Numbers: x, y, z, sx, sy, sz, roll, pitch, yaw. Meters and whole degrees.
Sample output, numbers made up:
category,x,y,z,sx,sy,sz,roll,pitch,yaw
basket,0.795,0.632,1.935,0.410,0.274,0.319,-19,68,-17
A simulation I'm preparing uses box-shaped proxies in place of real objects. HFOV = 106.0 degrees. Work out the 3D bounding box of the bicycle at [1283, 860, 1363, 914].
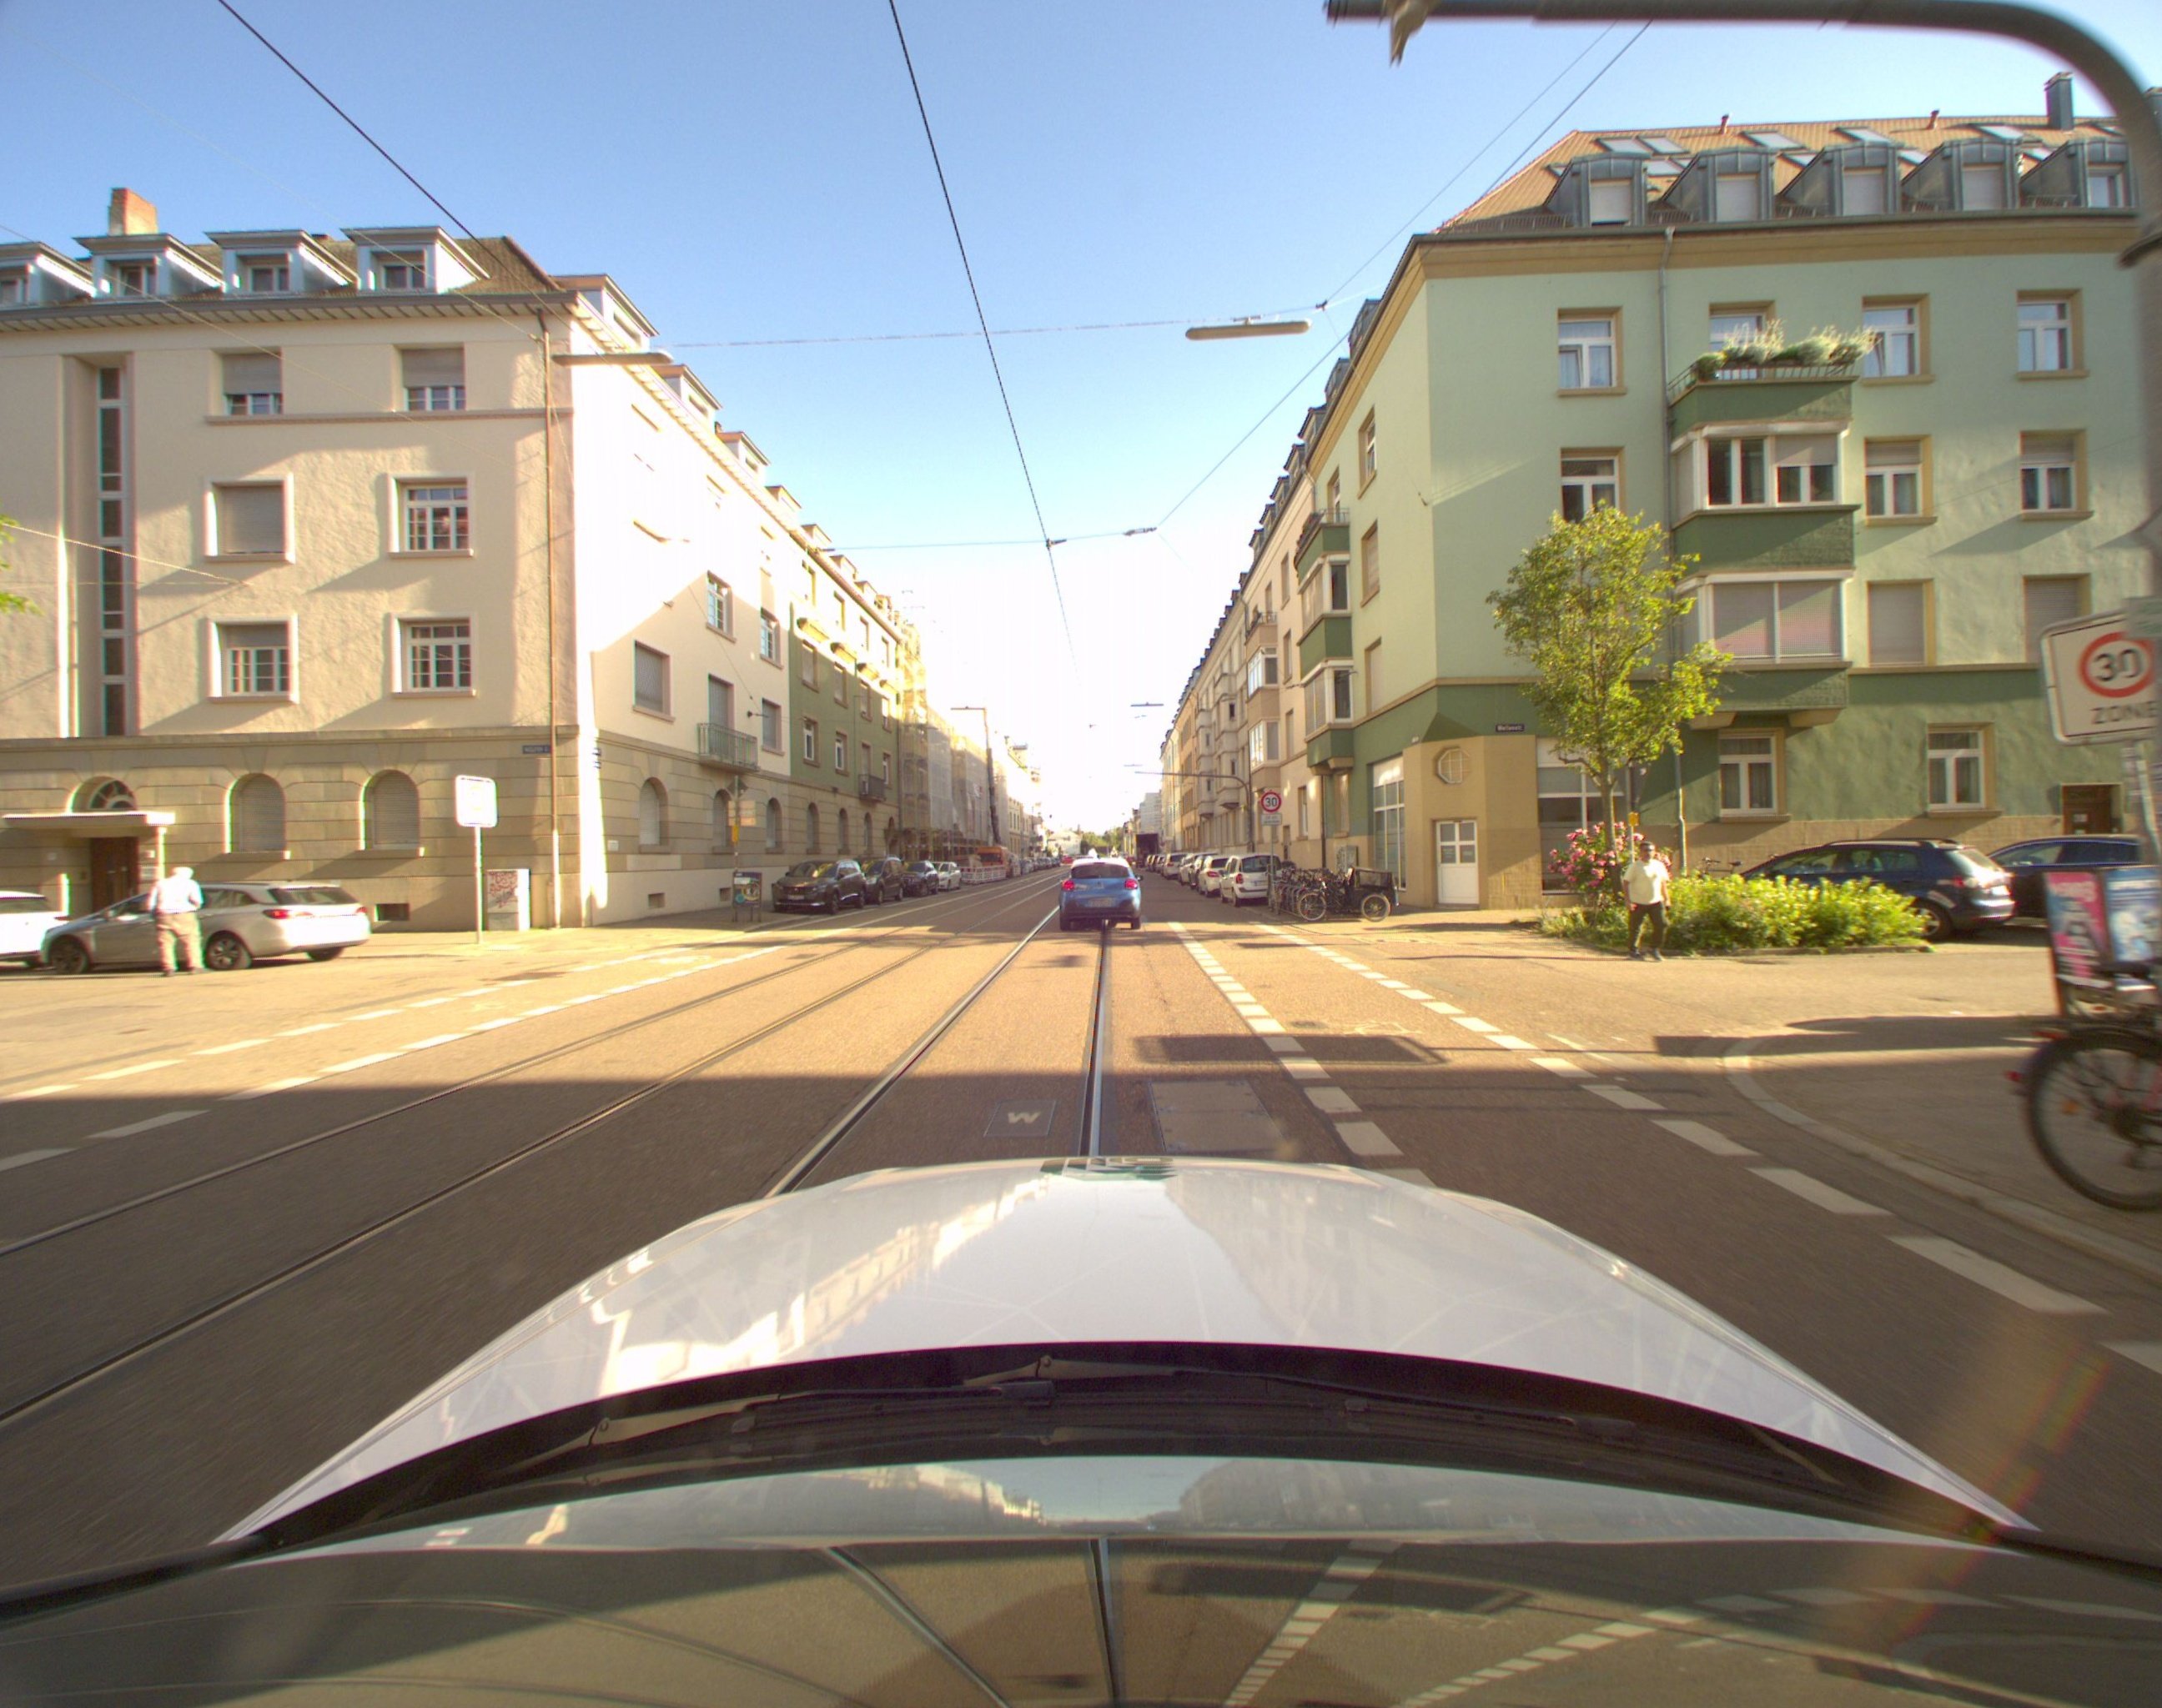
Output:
category,x,y,z,sx,sy,sz,roll,pitch,yaw
bicycle,5.841,0.794,19.706,1.716,1.154,0.469,-5,0,2

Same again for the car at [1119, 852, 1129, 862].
category,x,y,z,sx,sy,sz,roll,pitch,yaw
car,9.917,0.604,188.831,2.211,2.284,4.086,-2,0,2

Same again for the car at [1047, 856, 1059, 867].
category,x,y,z,sx,sy,sz,roll,pitch,yaw
car,-4.577,1.203,133.097,1.820,1.632,3.904,-2,0,0

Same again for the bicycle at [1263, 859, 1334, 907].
category,x,y,z,sx,sy,sz,roll,pitch,yaw
bicycle,5.912,0.794,22.181,1.716,1.154,0.469,-5,0,2

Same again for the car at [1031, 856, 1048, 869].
category,x,y,z,sx,sy,sz,roll,pitch,yaw
car,-5.448,1.043,107.404,1.819,1.632,4.851,-2,0,2

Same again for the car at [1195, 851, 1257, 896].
category,x,y,z,sx,sy,sz,roll,pitch,yaw
car,5.526,0.715,31.542,1.776,1.576,4.329,-2,0,2

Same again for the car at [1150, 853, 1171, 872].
category,x,y,z,sx,sy,sz,roll,pitch,yaw
car,7.263,0.793,74.823,1.657,1.647,4.224,-2,0,2

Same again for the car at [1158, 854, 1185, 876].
category,x,y,z,sx,sy,sz,roll,pitch,yaw
car,6.674,0.792,60.282,1.715,1.487,4.224,-2,0,2

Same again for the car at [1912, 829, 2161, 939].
category,x,y,z,sx,sy,sz,roll,pitch,yaw
car,16.703,0.433,13.332,1.761,1.640,3.975,-1,0,-18

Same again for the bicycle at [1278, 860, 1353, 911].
category,x,y,z,sx,sy,sz,roll,pitch,yaw
bicycle,6.012,0.796,20.929,1.716,1.154,0.469,-5,0,2

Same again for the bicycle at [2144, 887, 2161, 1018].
category,x,y,z,sx,sy,sz,roll,pitch,yaw
bicycle,9.763,0.872,6.445,0.466,1.154,1.729,-1,0,2

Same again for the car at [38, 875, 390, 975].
category,x,y,z,sx,sy,sz,roll,pitch,yaw
car,-14.978,1.193,14.245,4.202,1.464,1.783,-1,1,1

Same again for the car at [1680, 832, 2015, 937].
category,x,y,z,sx,sy,sz,roll,pitch,yaw
car,13.410,0.470,14.568,1.644,1.579,4.043,-1,0,-25

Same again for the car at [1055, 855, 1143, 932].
category,x,y,z,sx,sy,sz,roll,pitch,yaw
car,0.440,0.784,18.175,1.728,1.507,3.995,1,0,2

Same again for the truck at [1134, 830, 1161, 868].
category,x,y,z,sx,sy,sz,roll,pitch,yaw
truck,7.781,-0.538,96.557,2.841,4.083,11.280,-2,0,3

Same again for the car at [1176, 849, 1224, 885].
category,x,y,z,sx,sy,sz,roll,pitch,yaw
car,6.117,0.636,42.452,1.650,1.752,4.599,-2,0,-2

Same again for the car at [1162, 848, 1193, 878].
category,x,y,z,sx,sy,sz,roll,pitch,yaw
car,6.419,0.585,54.591,1.723,1.827,4.689,-2,0,2

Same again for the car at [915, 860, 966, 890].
category,x,y,z,sx,sy,sz,roll,pitch,yaw
car,-7.442,1.088,43.633,1.711,1.502,4.392,1,0,4

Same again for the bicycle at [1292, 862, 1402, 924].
category,x,y,z,sx,sy,sz,roll,pitch,yaw
bicycle,5.776,0.839,17.780,2.078,1.154,0.849,-4,0,2

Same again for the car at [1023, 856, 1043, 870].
category,x,y,z,sx,sy,sz,roll,pitch,yaw
car,-5.961,1.053,101.638,2.136,1.621,4.002,-2,0,2

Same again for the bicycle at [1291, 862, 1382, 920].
category,x,y,z,sx,sy,sz,roll,pitch,yaw
bicycle,5.779,0.830,18.468,1.835,1.154,0.469,-5,0,2

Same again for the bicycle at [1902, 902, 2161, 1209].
category,x,y,z,sx,sy,sz,roll,pitch,yaw
bicycle,4.836,0.814,3.538,1.916,1.161,0.527,-3,0,2

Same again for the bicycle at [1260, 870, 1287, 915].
category,x,y,z,sx,sy,sz,roll,pitch,yaw
bicycle,4.893,0.951,20.759,0.351,1.044,1.730,-1,0,4

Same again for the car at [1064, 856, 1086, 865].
category,x,y,z,sx,sy,sz,roll,pitch,yaw
car,-1.047,1.256,151.123,4.008,1.487,1.759,-2,0,-2

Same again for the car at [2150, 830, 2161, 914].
category,x,y,z,sx,sy,sz,roll,pitch,yaw
car,22.472,0.319,14.103,1.841,1.640,4.427,-1,0,-16

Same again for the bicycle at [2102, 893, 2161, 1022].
category,x,y,z,sx,sy,sz,roll,pitch,yaw
bicycle,9.253,0.881,6.337,0.466,1.049,1.729,-1,0,2

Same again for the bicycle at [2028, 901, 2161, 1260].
category,x,y,z,sx,sy,sz,roll,pitch,yaw
bicycle,4.776,0.781,2.959,1.951,1.227,0.527,-3,0,2

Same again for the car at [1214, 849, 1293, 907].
category,x,y,z,sx,sy,sz,roll,pitch,yaw
car,5.340,0.696,25.697,1.776,1.632,4.002,-2,0,2

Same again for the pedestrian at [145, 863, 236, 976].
category,x,y,z,sx,sy,sz,roll,pitch,yaw
pedestrian,-14.103,1.017,12.914,0.604,1.712,0.732,-1,0,2

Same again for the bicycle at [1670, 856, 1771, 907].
category,x,y,z,sx,sy,sz,roll,pitch,yaw
bicycle,14.160,0.599,18.048,1.889,1.063,0.455,-1,0,-1

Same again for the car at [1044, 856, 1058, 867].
category,x,y,z,sx,sy,sz,roll,pitch,yaw
car,-4.716,1.210,127.191,1.819,1.632,3.907,-2,0,2

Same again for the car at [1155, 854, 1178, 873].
category,x,y,z,sx,sy,sz,roll,pitch,yaw
car,7.343,0.798,69.972,1.657,1.519,4.224,-2,0,2

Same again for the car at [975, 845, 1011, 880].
category,x,y,z,sx,sy,sz,roll,pitch,yaw
car,-6.525,0.602,60.805,2.137,2.475,4.979,0,0,0

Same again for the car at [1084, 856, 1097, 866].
category,x,y,z,sx,sy,sz,roll,pitch,yaw
car,1.498,1.119,131.338,1.894,1.632,4.269,-2,0,2

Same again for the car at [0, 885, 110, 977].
category,x,y,z,sx,sy,sz,roll,pitch,yaw
car,-20.167,1.376,14.381,3.782,1.464,1.842,-1,1,1

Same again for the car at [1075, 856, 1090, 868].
category,x,y,z,sx,sy,sz,roll,pitch,yaw
car,0.179,1.090,113.182,1.819,1.632,4.493,-2,0,2

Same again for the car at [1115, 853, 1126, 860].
category,x,y,z,sx,sy,sz,roll,pitch,yaw
car,8.548,0.612,176.219,2.172,1.486,4.162,-1,0,2

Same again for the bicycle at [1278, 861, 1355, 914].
category,x,y,z,sx,sy,sz,roll,pitch,yaw
bicycle,5.847,0.821,20.253,1.716,1.154,0.469,-5,0,2

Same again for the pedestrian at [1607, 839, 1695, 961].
category,x,y,z,sx,sy,sz,roll,pitch,yaw
pedestrian,7.922,0.627,11.338,0.730,1.633,0.700,1,-2,-13

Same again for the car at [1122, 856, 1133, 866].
category,x,y,z,sx,sy,sz,roll,pitch,yaw
car,7.405,1.073,129.892,1.758,1.487,4.034,-2,0,2

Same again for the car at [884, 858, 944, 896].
category,x,y,z,sx,sy,sz,roll,pitch,yaw
car,-7.582,1.002,37.384,1.777,1.627,4.608,1,0,0

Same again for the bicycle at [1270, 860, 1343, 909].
category,x,y,z,sx,sy,sz,roll,pitch,yaw
bicycle,5.953,0.799,21.553,1.716,1.154,0.469,-5,0,2

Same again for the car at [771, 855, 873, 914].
category,x,y,z,sx,sy,sz,roll,pitch,yaw
car,-8.232,0.905,26.386,1.777,1.690,4.667,1,0,0

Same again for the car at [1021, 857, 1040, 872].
category,x,y,z,sx,sy,sz,roll,pitch,yaw
car,-5.790,1.222,93.646,1.707,1.594,4.269,-2,0,2

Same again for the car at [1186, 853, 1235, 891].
category,x,y,z,sx,sy,sz,roll,pitch,yaw
car,5.765,0.773,36.701,1.648,1.566,4.341,-2,0,2

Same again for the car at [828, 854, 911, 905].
category,x,y,z,sx,sy,sz,roll,pitch,yaw
car,-8.080,0.918,31.585,1.776,1.816,4.531,1,0,3
